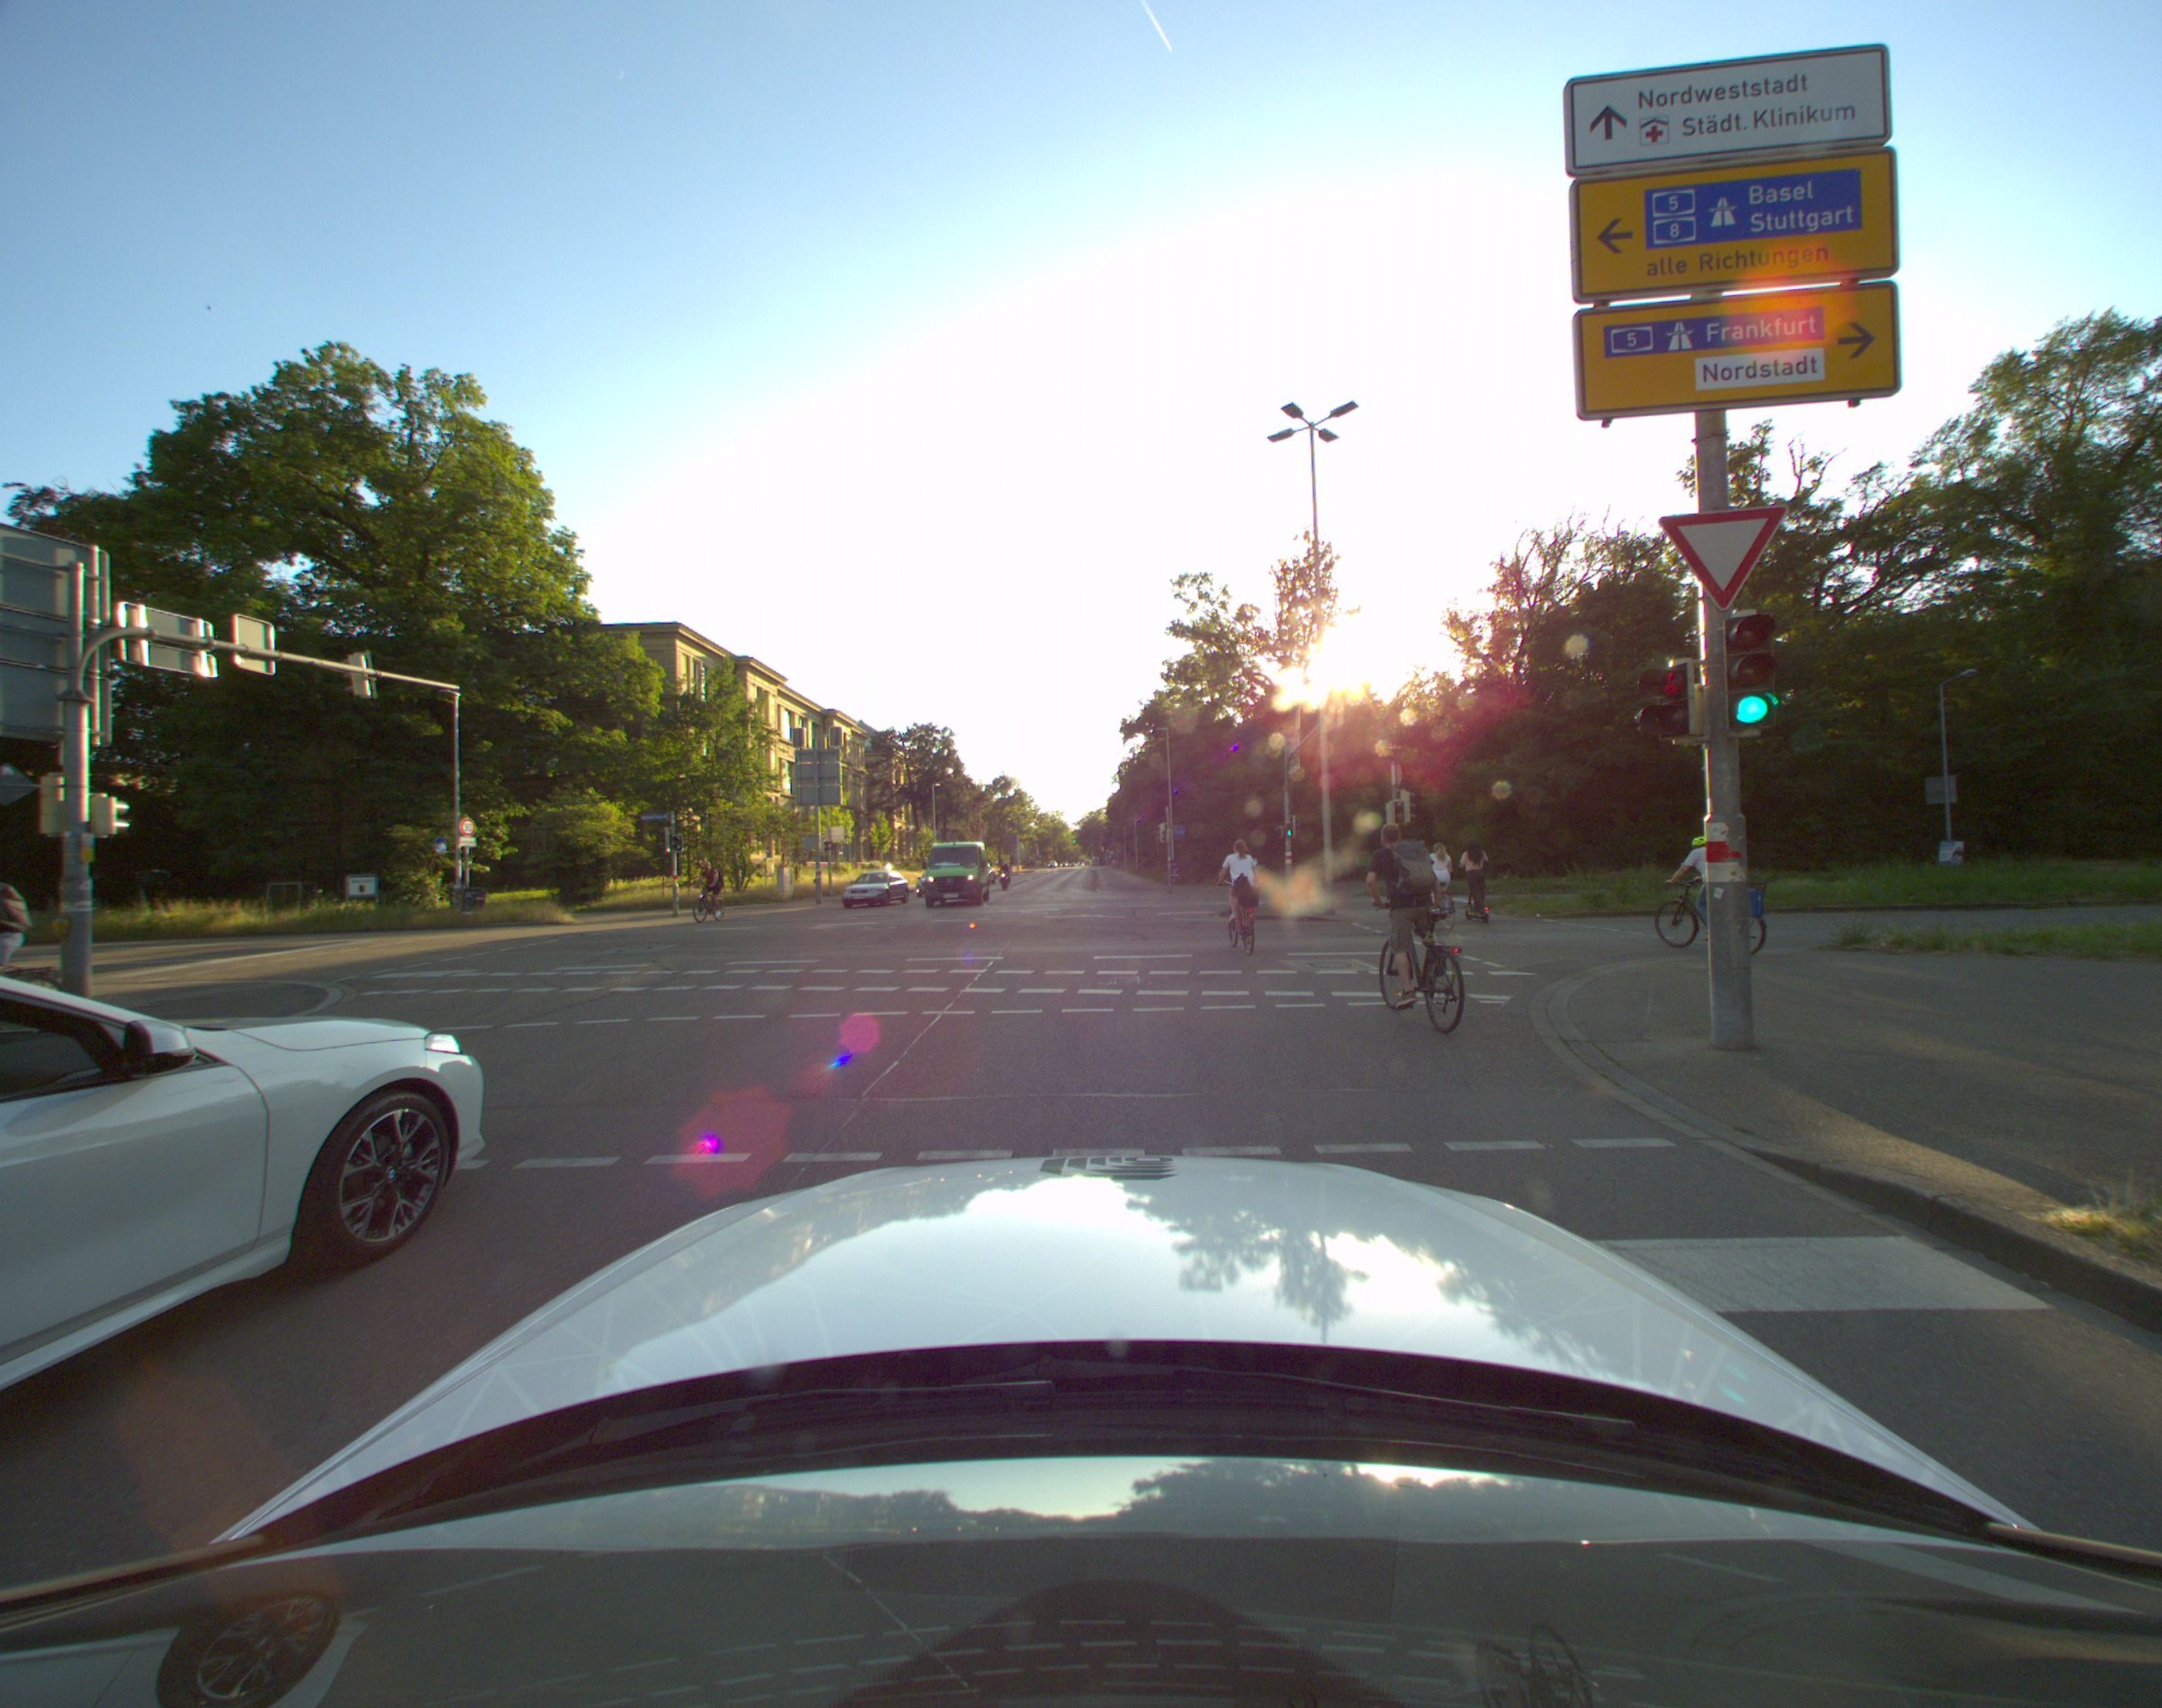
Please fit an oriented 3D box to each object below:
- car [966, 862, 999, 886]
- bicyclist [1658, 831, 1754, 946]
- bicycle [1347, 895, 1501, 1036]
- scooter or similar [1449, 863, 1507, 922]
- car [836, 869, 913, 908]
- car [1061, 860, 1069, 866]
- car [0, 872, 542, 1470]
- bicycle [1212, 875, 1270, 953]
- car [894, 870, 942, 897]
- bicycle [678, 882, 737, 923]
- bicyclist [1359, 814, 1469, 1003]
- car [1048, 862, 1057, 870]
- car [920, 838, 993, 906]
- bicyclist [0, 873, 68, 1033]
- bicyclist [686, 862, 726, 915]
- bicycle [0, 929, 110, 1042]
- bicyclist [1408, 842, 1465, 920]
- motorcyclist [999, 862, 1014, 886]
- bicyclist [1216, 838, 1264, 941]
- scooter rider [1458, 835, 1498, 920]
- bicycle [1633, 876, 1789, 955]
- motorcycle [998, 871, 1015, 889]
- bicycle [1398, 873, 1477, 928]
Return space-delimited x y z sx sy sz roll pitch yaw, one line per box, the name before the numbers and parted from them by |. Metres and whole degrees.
car | -7.380 1.485 61.221 1.758 1.635 4.514 -2 -1 2
bicyclist | 8.951 0.475 11.692 0.554 1.569 0.895 -2 -1 -13
bicycle | 3.076 0.952 7.511 0.696 1.063 1.826 -1 -1 2
scooter or similar | 8.465 0.798 17.404 0.559 1.189 1.423 -1 -1 3
car | -8.309 1.364 33.146 1.721 1.409 4.146 -2 -1 5
car | -4.369 2.384 216.661 1.988 1.640 3.997 -2 -1 -2
car | -3.587 0.828 1.946 1.746 1.466 4.188 -2 -1 0
bicycle | 2.573 0.930 13.264 0.611 1.138 1.885 -1 -1 1
car | -8.815 1.587 44.419 1.758 1.328 3.644 -2 -1 1
bicycle | -11.206 1.436 24.528 0.684 1.123 2.169 -2 -1 1
bicyclist | 3.078 0.485 7.596 0.696 1.667 0.799 -1 -1 2
car | -5.924 2.510 170.653 1.766 1.474 3.772 -2 -1 -3
car | -4.607 0.664 31.015 2.034 2.278 5.935 -2 -1 -3
bicyclist | -11.433 1.021 8.448 0.648 1.633 0.915 0 -1 1
bicyclist | -11.224 1.020 24.390 0.680 1.512 0.956 -2 -1 1
bicycle | -11.446 1.387 8.344 0.656 1.089 1.904 0 -1 2
bicyclist | 7.194 0.531 16.520 0.757 1.518 0.857 -1 -1 1
motorcyclist | -4.376 1.170 47.594 0.747 1.358 0.704 -2 -1 1
bicyclist | 2.551 0.559 13.130 0.601 1.586 0.910 -1 -1 1
scooter rider | 8.452 0.494 17.351 0.563 1.767 0.505 -2 -1 2
bicycle | 8.964 0.833 11.683 0.564 1.014 1.794 -2 -1 -13
motorcycle | -4.363 1.533 47.636 0.751 1.001 1.879 -2 -2 1
bicycle | 7.203 0.913 16.556 0.768 1.007 2.017 -1 0 2
